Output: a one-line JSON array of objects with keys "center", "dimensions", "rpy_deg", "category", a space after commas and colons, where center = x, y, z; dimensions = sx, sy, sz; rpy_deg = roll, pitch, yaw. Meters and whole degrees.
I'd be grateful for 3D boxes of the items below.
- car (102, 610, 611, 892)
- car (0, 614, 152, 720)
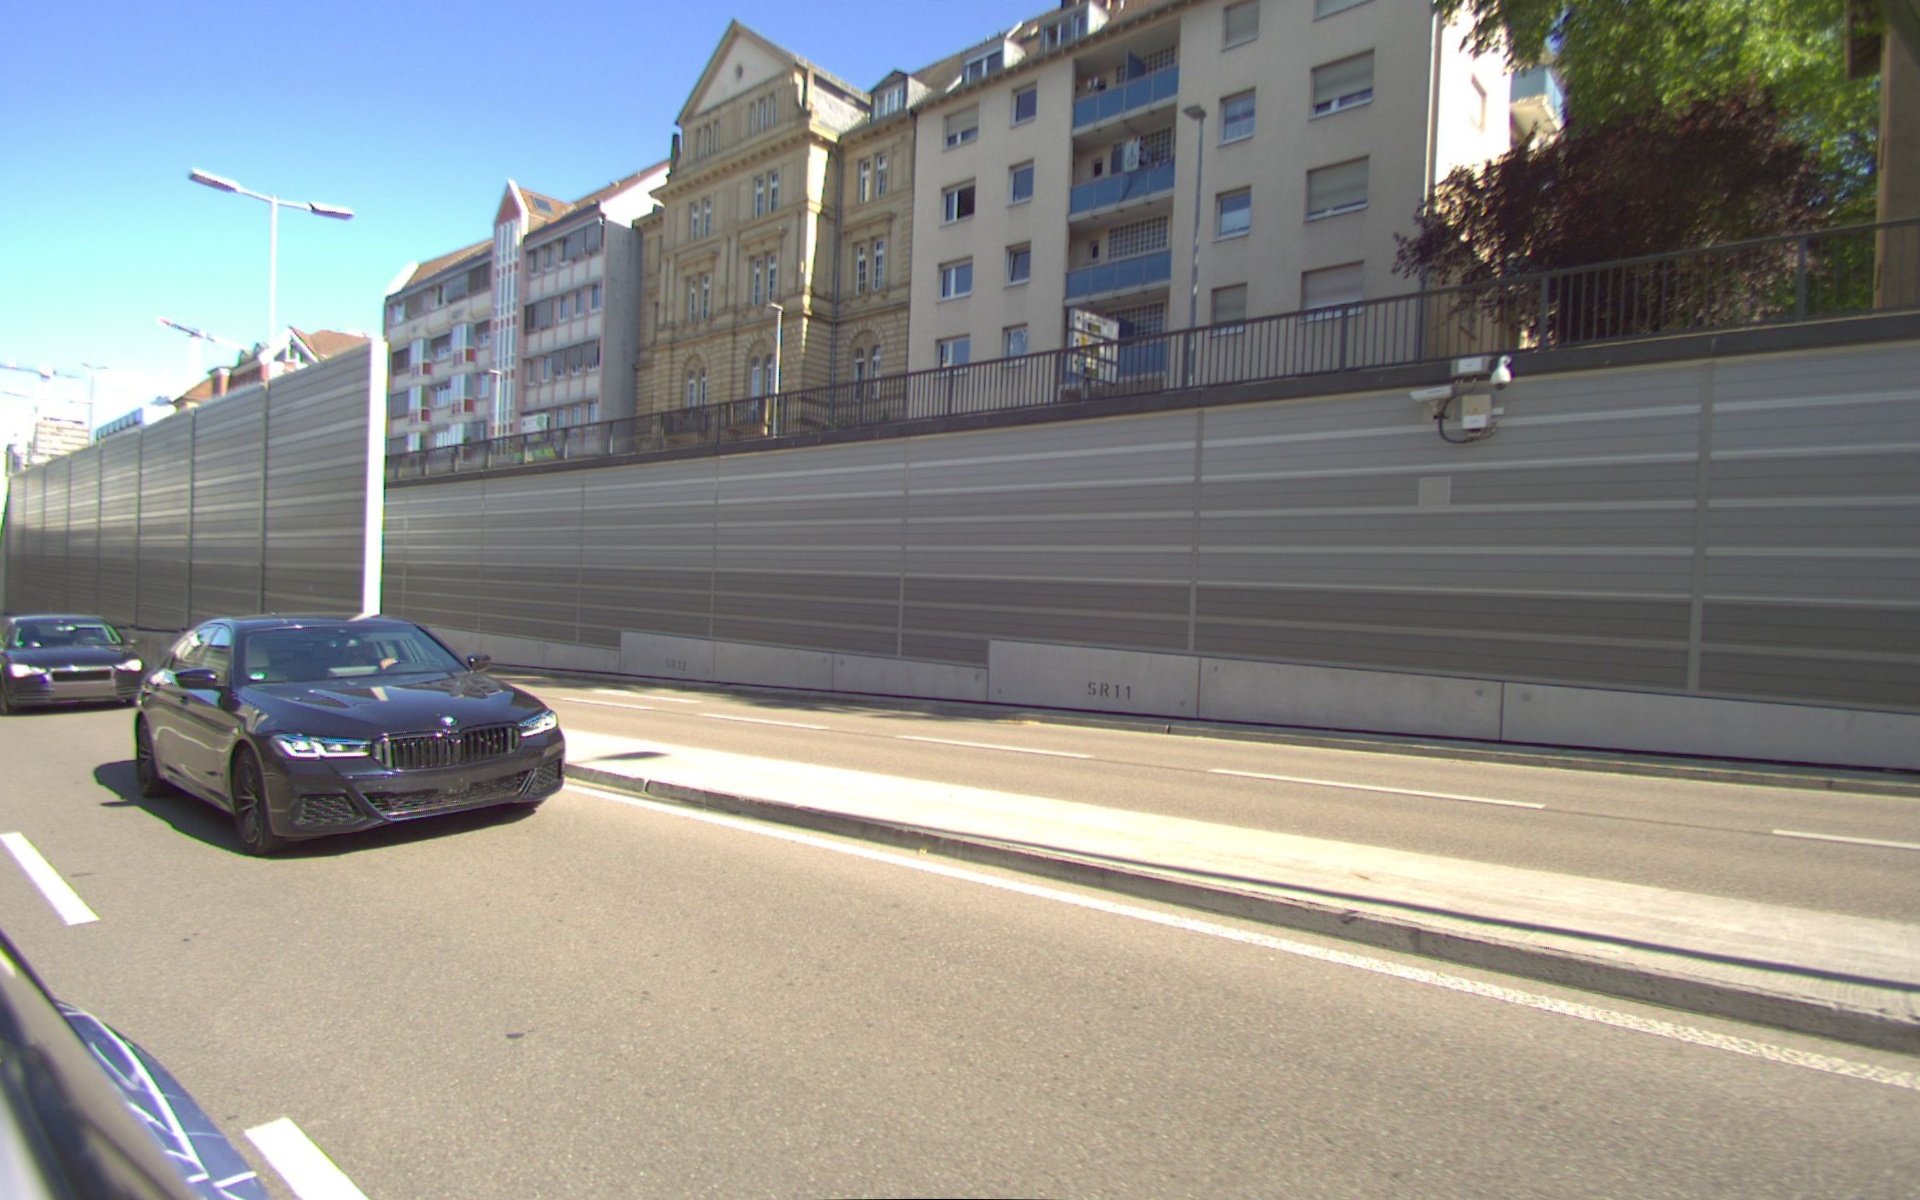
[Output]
[{"center": [-4.761, 0.830, 7.585], "dimensions": [4.999, 1.450, 1.790], "rpy_deg": [-1, -1, 41], "category": "car"}, {"center": [-14.111, 0.965, 15.769], "dimensions": [3.886, 1.429, 1.678], "rpy_deg": [-1, -1, 41], "category": "car"}]
